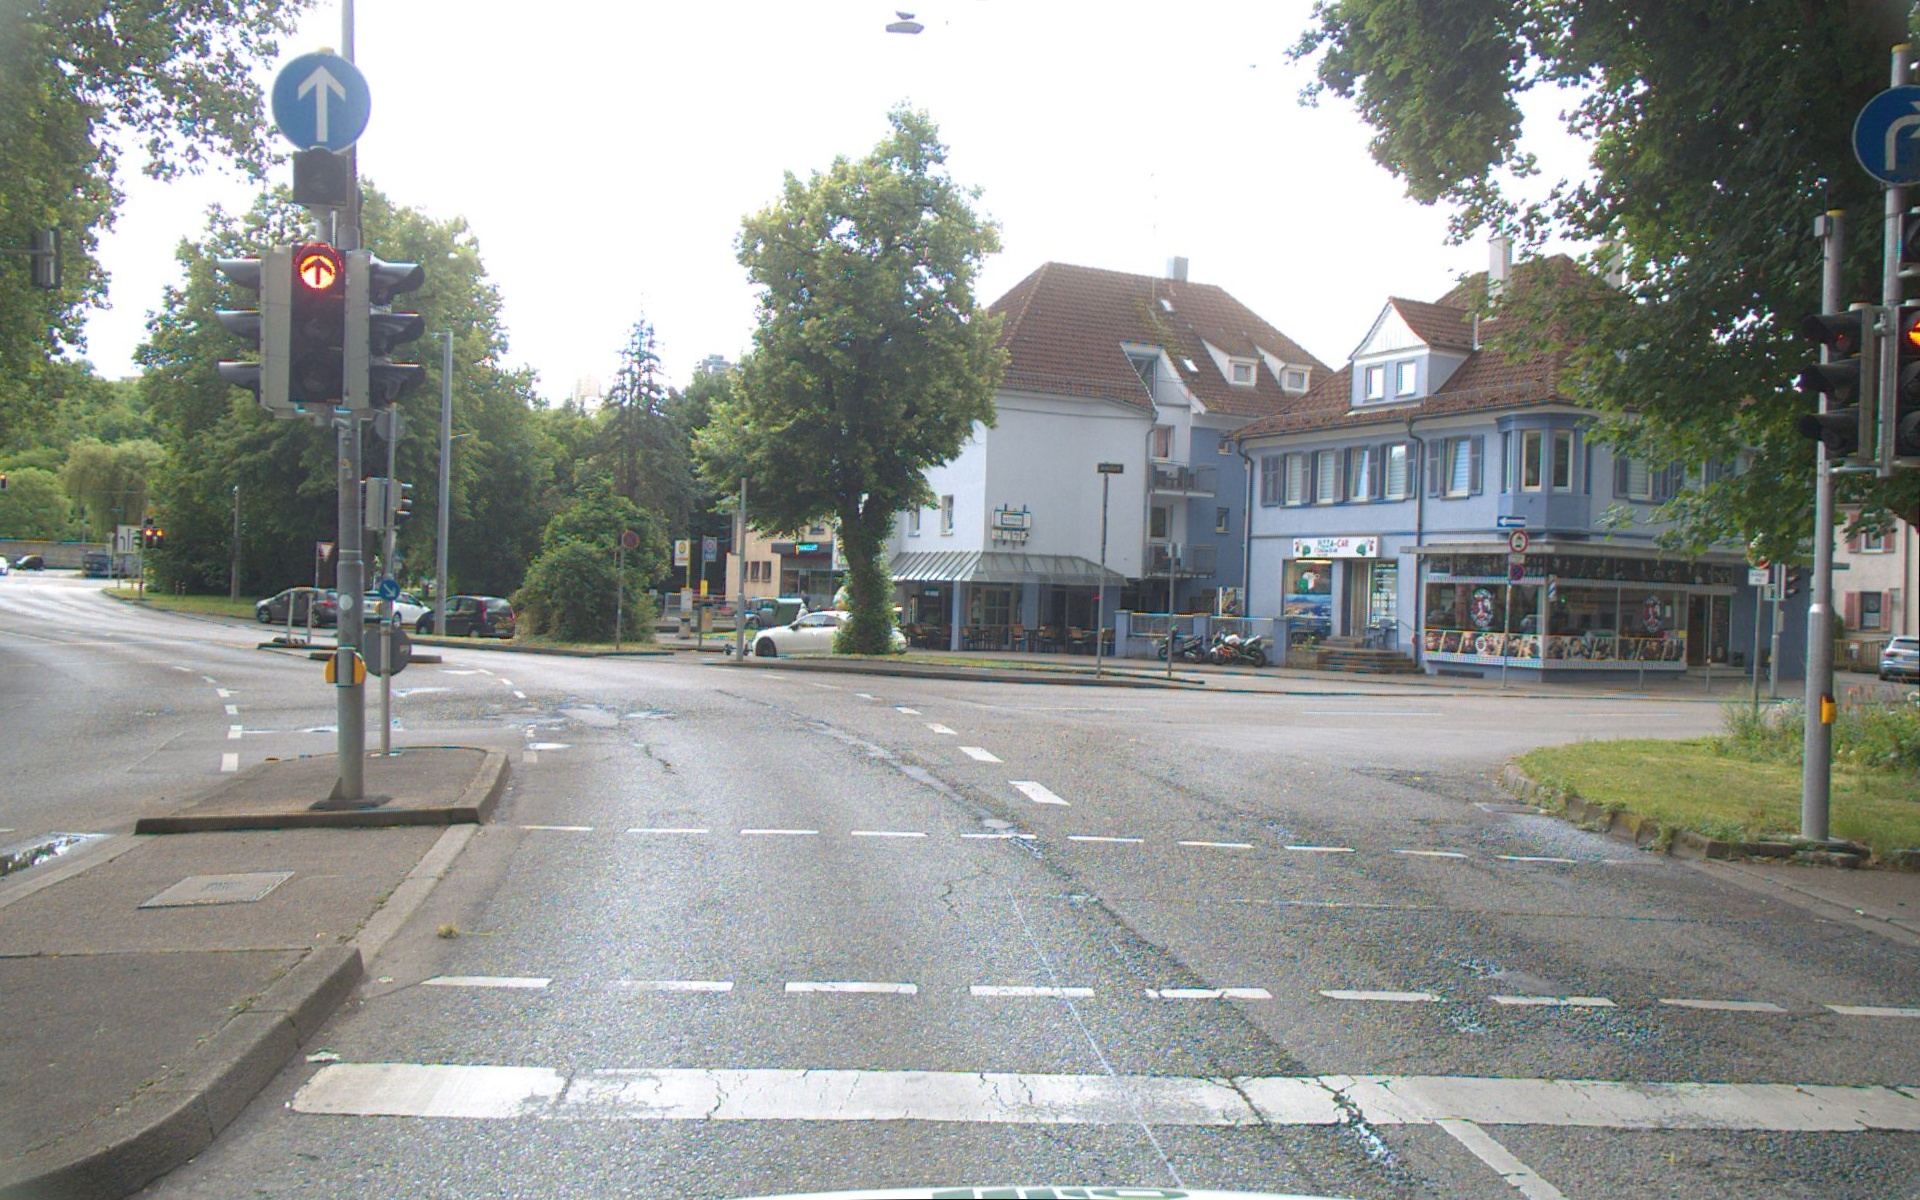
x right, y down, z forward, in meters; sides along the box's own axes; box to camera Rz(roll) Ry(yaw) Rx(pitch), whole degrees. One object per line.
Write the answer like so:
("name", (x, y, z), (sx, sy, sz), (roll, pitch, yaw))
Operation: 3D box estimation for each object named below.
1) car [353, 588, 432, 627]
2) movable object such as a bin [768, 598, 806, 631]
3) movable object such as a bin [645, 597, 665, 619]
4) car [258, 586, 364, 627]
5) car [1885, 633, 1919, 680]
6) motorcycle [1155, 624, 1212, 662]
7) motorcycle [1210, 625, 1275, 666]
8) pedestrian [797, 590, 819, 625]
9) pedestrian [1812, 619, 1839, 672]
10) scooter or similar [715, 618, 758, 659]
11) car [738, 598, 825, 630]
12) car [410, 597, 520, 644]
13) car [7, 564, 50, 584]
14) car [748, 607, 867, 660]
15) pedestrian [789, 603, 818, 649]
("car", (-22.669, 0.310, 66.185), (1.512, 1.490, 3.398), (1, 0, 10))
("movable object such as a bin", (-7.718, 0.661, 73.842), (1.424, 1.433, 0.959), (1, 0, -27))
("movable object such as a bin", (-15.853, 0.398, 85.915), (0.937, 1.135, 0.381), (1, 0, -22))
("car", (-24.860, 0.248, 63.395), (3.469, 1.490, 1.586), (1, 0, 12))
("car", (29.851, 1.740, 51.412), (1.471, 1.393, 3.164), (1, 0, 38))
("motorcycle", (6.791, 1.296, 50.236), (1.609, 1.082, 0.690), (1, 0, 44))
("motorcycle", (8.271, 1.313, 48.480), (1.765, 1.141, 0.692), (1, 0, 38))
("pedestrian", (-6.915, 0.348, 75.059), (0.694, 1.572, 0.675), (1, 0, 37))
("pedestrian", (25.743, 1.354, 49.196), (0.574, 1.544, 0.459), (1, -1, -6))
("scooter or similar", (-5.732, 0.985, 42.542), (0.408, 1.029, 1.567), (1, 0, 20))
("car", (-8.158, 0.644, 75.732), (3.690, 1.368, 1.421), (1, 0, -27))
("car", (-16.008, 0.663, 53.463), (3.519, 1.418, 1.468), (1, 0, 32))
("car", (-102.211, -2.822, 181.496), (3.948, 2.049, 1.978), (1, 0, -32))
("car", (-4.246, 0.920, 45.958), (3.110, 1.378, 1.435), (1, 0, 34))
("pedestrian", (-5.454, 0.903, 57.633), (0.754, 1.572, 0.675), (1, -1, 38))
